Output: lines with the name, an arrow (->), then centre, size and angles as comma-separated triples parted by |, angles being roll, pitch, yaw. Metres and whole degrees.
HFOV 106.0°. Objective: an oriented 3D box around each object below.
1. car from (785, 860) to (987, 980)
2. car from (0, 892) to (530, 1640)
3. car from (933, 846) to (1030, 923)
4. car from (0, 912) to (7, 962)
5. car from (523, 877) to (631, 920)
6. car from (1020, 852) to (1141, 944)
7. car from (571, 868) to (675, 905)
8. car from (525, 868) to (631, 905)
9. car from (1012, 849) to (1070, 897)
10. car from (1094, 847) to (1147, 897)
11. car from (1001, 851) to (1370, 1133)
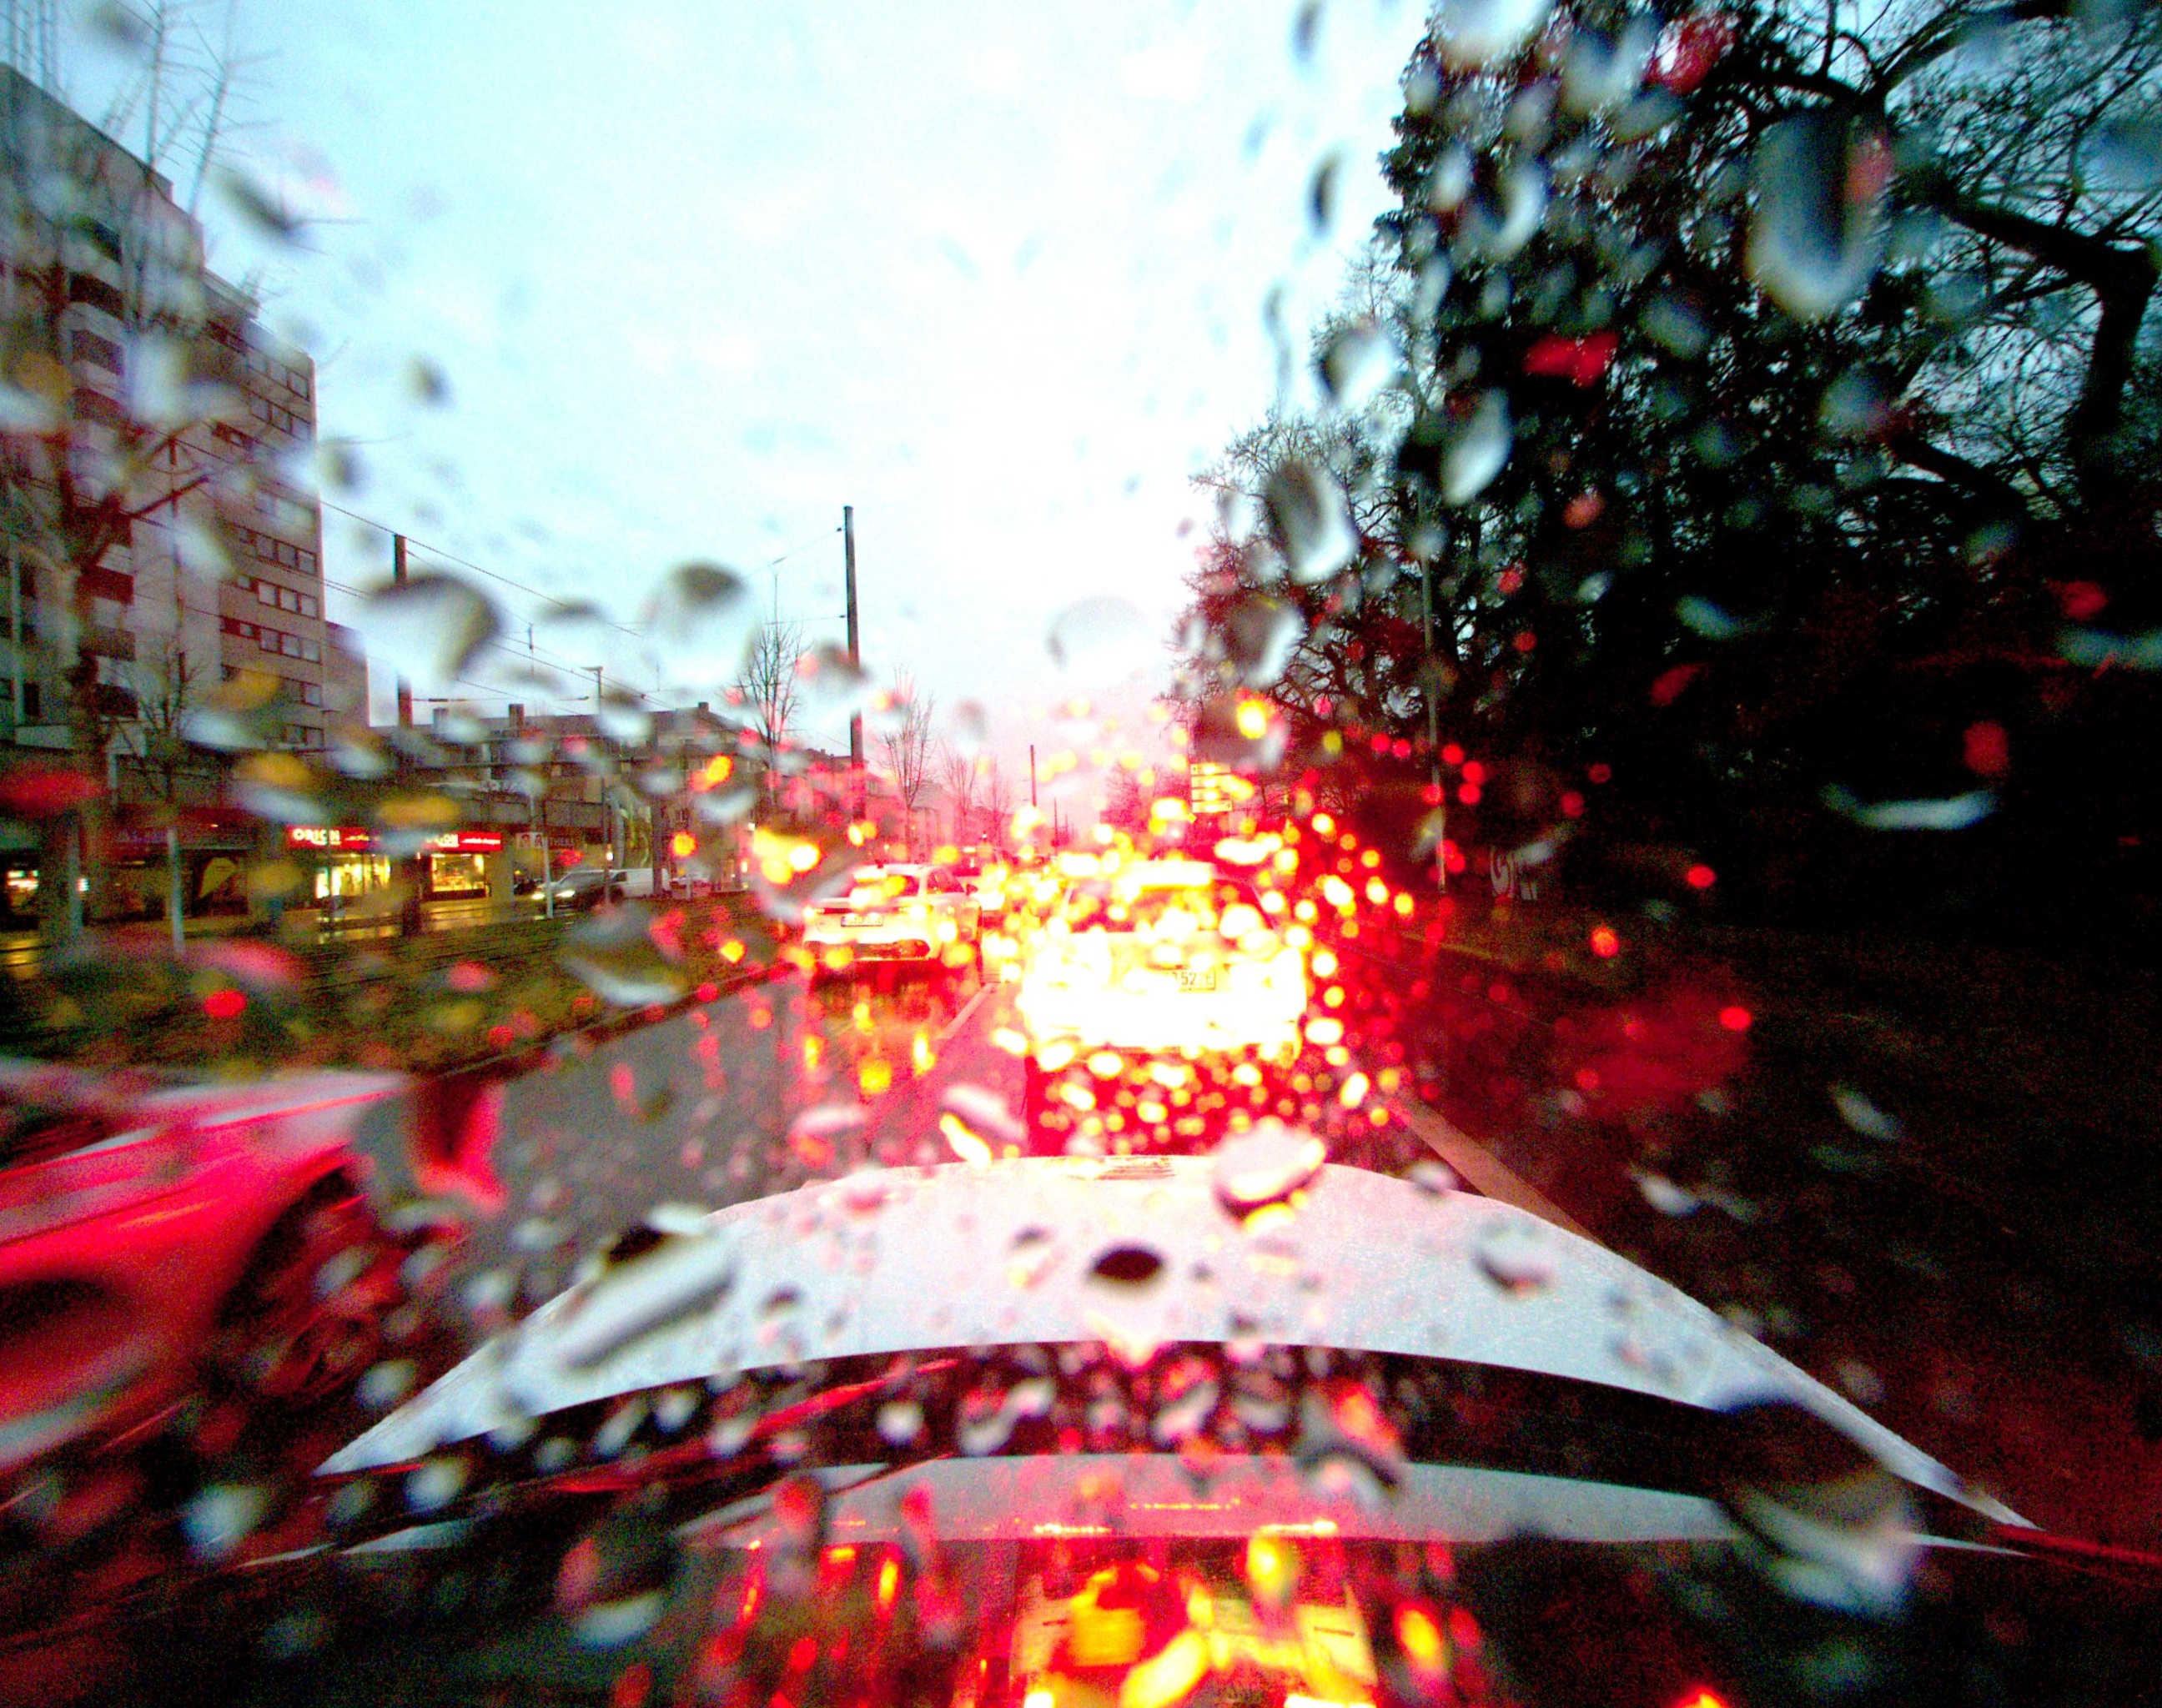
car -> -2.638, 0.817, 12.197 | 1.840, 1.405, 4.614 | -1, 0, 1
car -> -2.977, 0.831, 1.011 | 1.756, 1.371, 3.983 | -1, 0, 2
car -> -2.430, 0.704, 20.995 | 1.787, 1.736, 4.538 | -1, 0, 1
car -> -31.608, 2.316, 21.166 | 4.015, 1.387, 1.916 | 1, -1, -34
car -> -22.885, 1.992, 37.208 | 1.889, 1.634, 4.582 | -2, 0, 2
car -> 0.062, 0.709, 15.363 | 1.928, 1.457, 4.165 | -1, 0, 2
car -> -27.389, 1.920, 48.896 | 1.975, 1.912, 5.193 | -3, 0, 24
car -> -30.692, 1.972, 49.799 | 5.193, 1.912, 1.975 | -3, 0, -44
car -> -1.420, 0.659, 30.438 | 1.800, 1.646, 4.002 | -1, 0, 2
car -> 1.421, 0.613, 29.848 | 1.800, 1.646, 4.002 | -1, 0, 2
car -> 0.638, 0.758, 6.569 | 1.992, 1.508, 4.165 | -1, 0, 2
